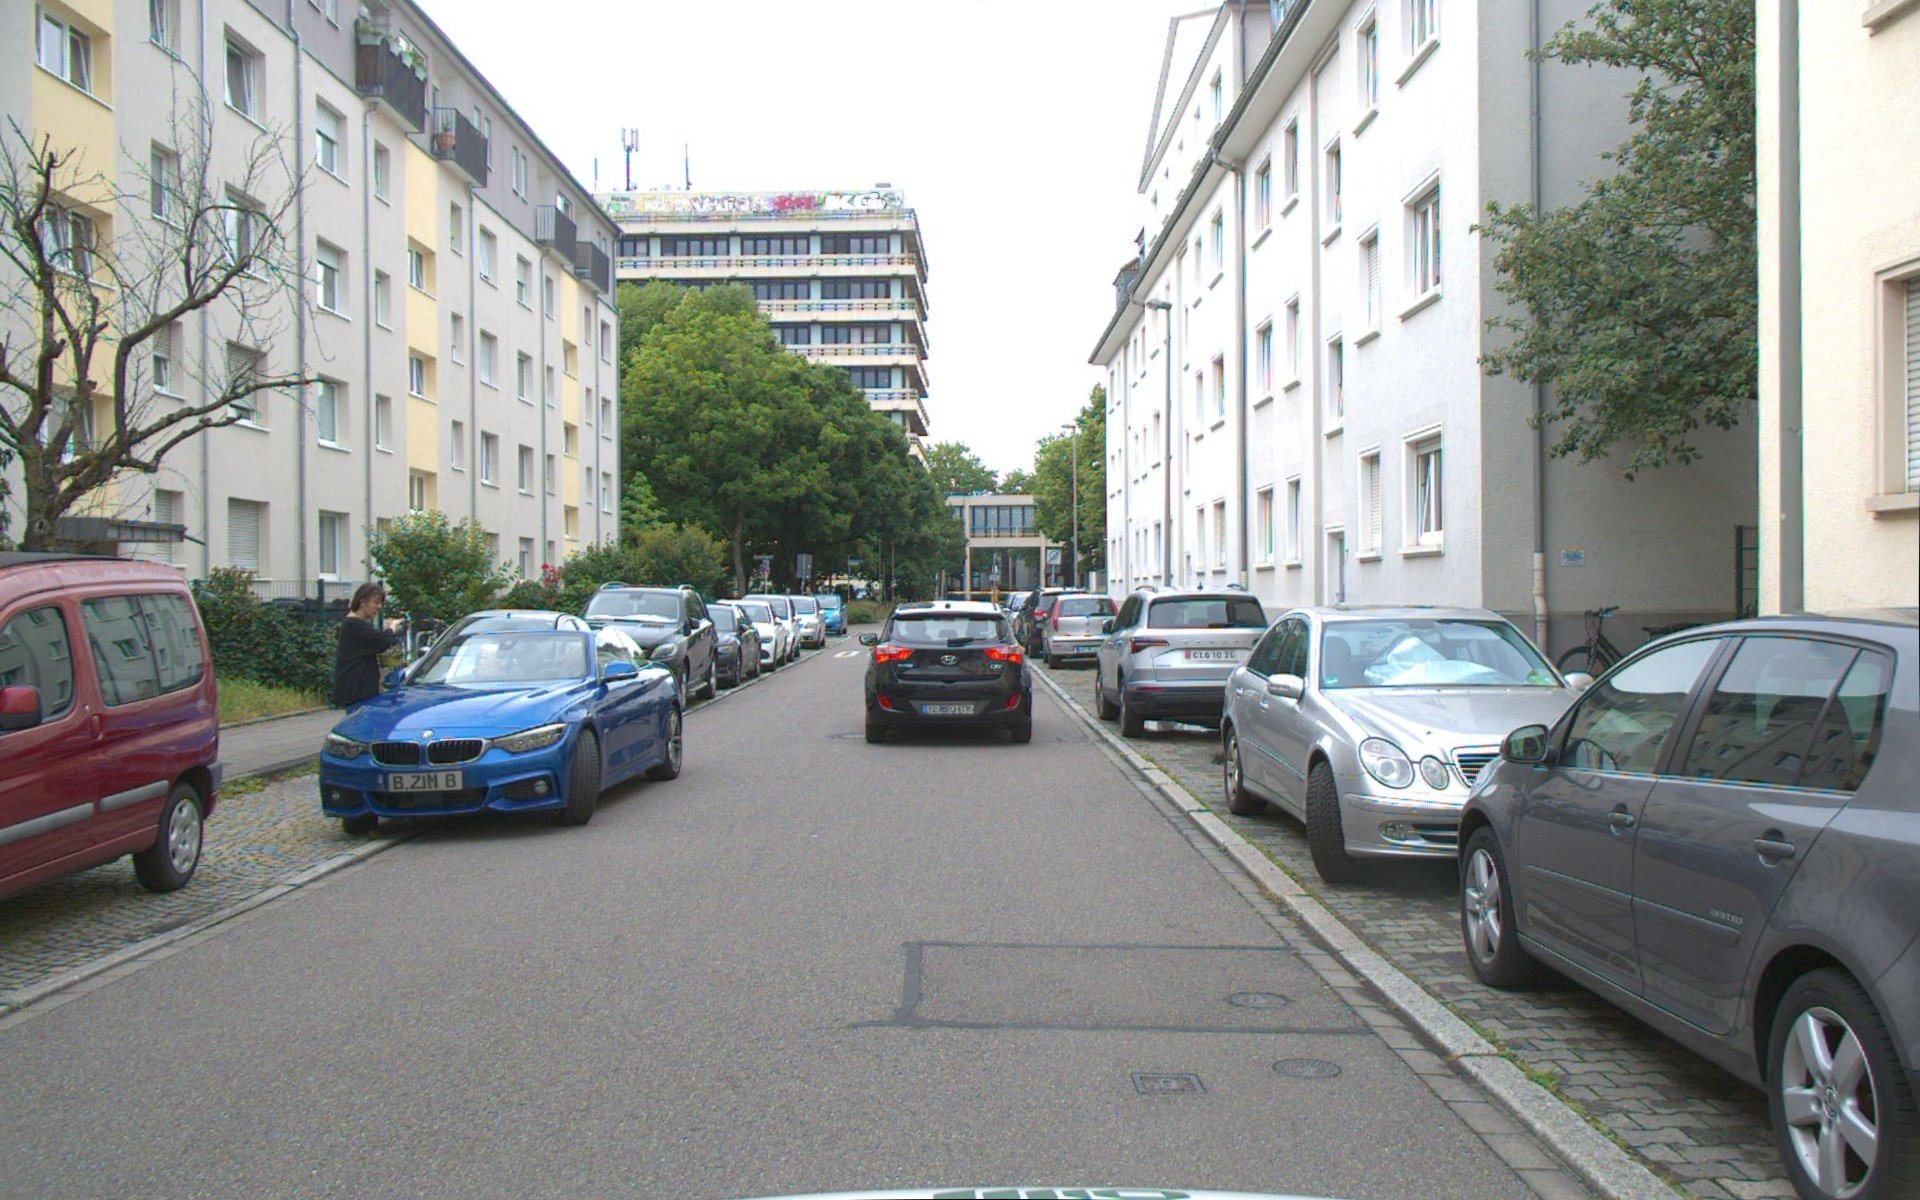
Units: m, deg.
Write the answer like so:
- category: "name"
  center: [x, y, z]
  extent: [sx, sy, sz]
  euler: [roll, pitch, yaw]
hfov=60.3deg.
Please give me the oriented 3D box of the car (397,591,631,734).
- category: "car"
  center: [-5.076, 0.647, 19.326]
  extent: [1.709, 1.490, 3.785]
  euler: [-1, 0, 0]

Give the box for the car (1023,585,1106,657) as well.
- category: "car"
  center: [2.475, 0.477, 39.924]
  extent: [1.783, 1.631, 4.091]
  euler: [0, 0, 0]

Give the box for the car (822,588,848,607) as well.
- category: "car"
  center: [-9.152, -0.221, 121.321]
  extent: [1.632, 1.356, 3.395]
  euler: [0, 1, 0]

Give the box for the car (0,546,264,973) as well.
- category: "car"
  center: [-5.037, 0.661, 7.668]
  extent: [1.917, 1.801, 4.359]
  euler: [1, 0, -3]

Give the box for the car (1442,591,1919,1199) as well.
- category: "car"
  center: [2.870, 0.728, 5.190]
  extent: [1.570, 1.502, 3.869]
  euler: [0, 0, 0]

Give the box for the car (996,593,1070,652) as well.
- category: "car"
  center: [1.973, 0.587, 46.072]
  extent: [1.783, 1.546, 4.672]
  euler: [0, 0, -1]

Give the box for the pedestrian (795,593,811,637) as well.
- category: "pedestrian"
  center: [-6.656, 0.632, 70.235]
  extent: [0.592, 1.863, 0.675]
  euler: [0, 0, 1]

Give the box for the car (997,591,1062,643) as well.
- category: "car"
  center: [2.139, 0.507, 52.029]
  extent: [1.783, 1.546, 4.673]
  euler: [0, 0, -1]

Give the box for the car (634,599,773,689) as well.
- category: "car"
  center: [-4.712, 0.762, 31.027]
  extent: [1.856, 1.477, 4.666]
  euler: [2, 0, 0]

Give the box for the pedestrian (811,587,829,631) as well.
- category: "pedestrian"
  center: [-5.932, 0.374, 70.016]
  extent: [0.699, 1.863, 0.797]
  euler: [0, 0, 1]

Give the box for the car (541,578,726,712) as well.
- category: "car"
  center: [-4.783, 0.613, 24.875]
  extent: [1.856, 1.770, 4.474]
  euler: [2, 0, 0]

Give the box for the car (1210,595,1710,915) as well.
- category: "car"
  center: [2.712, 0.730, 10.099]
  extent: [1.690, 1.502, 4.504]
  euler: [0, 0, 0]

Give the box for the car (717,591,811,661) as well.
- category: "car"
  center: [-4.969, 0.623, 42.514]
  extent: [1.856, 1.627, 4.520]
  euler: [2, 0, 0]

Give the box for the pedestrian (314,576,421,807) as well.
- category: "pedestrian"
  center: [-4.633, 0.691, 12.973]
  extent: [0.729, 1.731, 0.792]
  euler: [-1, 0, -18]

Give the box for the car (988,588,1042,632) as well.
- category: "car"
  center: [2.017, 0.391, 62.117]
  extent: [1.783, 1.546, 4.672]
  euler: [-1, -1, -1]

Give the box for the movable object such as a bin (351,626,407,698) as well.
- category: "movable object such as a bin"
  center: [-8.184, 0.864, 23.307]
  extent: [0.540, 0.971, 0.635]
  euler: [-1, 0, -1]

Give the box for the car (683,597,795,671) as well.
- category: "car"
  center: [-4.785, 0.697, 36.392]
  extent: [1.856, 1.477, 4.520]
  euler: [2, 0, 0]

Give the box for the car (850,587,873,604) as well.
- category: "car"
  center: [-8.019, -0.339, 134.767]
  extent: [1.632, 1.356, 3.395]
  euler: [0, 1, 0]

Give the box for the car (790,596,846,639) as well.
- category: "car"
  center: [-5.383, 0.646, 63.137]
  extent: [1.954, 1.568, 3.998]
  euler: [1, 0, -3]

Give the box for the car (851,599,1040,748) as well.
- category: "car"
  center: [-0.133, 0.735, 18.646]
  extent: [1.864, 1.458, 4.233]
  euler: [-1, 0, 0]

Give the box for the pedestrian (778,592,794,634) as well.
- category: "pedestrian"
  center: [-7.333, 0.547, 69.879]
  extent: [0.588, 1.743, 0.648]
  euler: [0, 0, 1]

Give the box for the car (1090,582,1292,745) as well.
- category: "car"
  center: [2.540, 0.648, 19.092]
  extent: [1.783, 1.671, 4.091]
  euler: [0, 0, 0]

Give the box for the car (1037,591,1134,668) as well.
- category: "car"
  center: [2.614, 0.579, 35.214]
  extent: [1.783, 1.529, 4.091]
  euler: [-1, 0, 0]

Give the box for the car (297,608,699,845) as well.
- category: "car"
  center: [-3.322, 0.824, 12.877]
  extent: [1.807, 1.476, 4.501]
  euler: [0, 0, 1]

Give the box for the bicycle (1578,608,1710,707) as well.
- category: "bicycle"
  center: [7.626, 0.632, 18.462]
  extent: [1.266, 1.081, 0.497]
  euler: [-1, 0, 2]

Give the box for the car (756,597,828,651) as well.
- category: "car"
  center: [-5.114, 0.710, 50.821]
  extent: [1.954, 1.568, 3.998]
  euler: [1, 0, -3]
